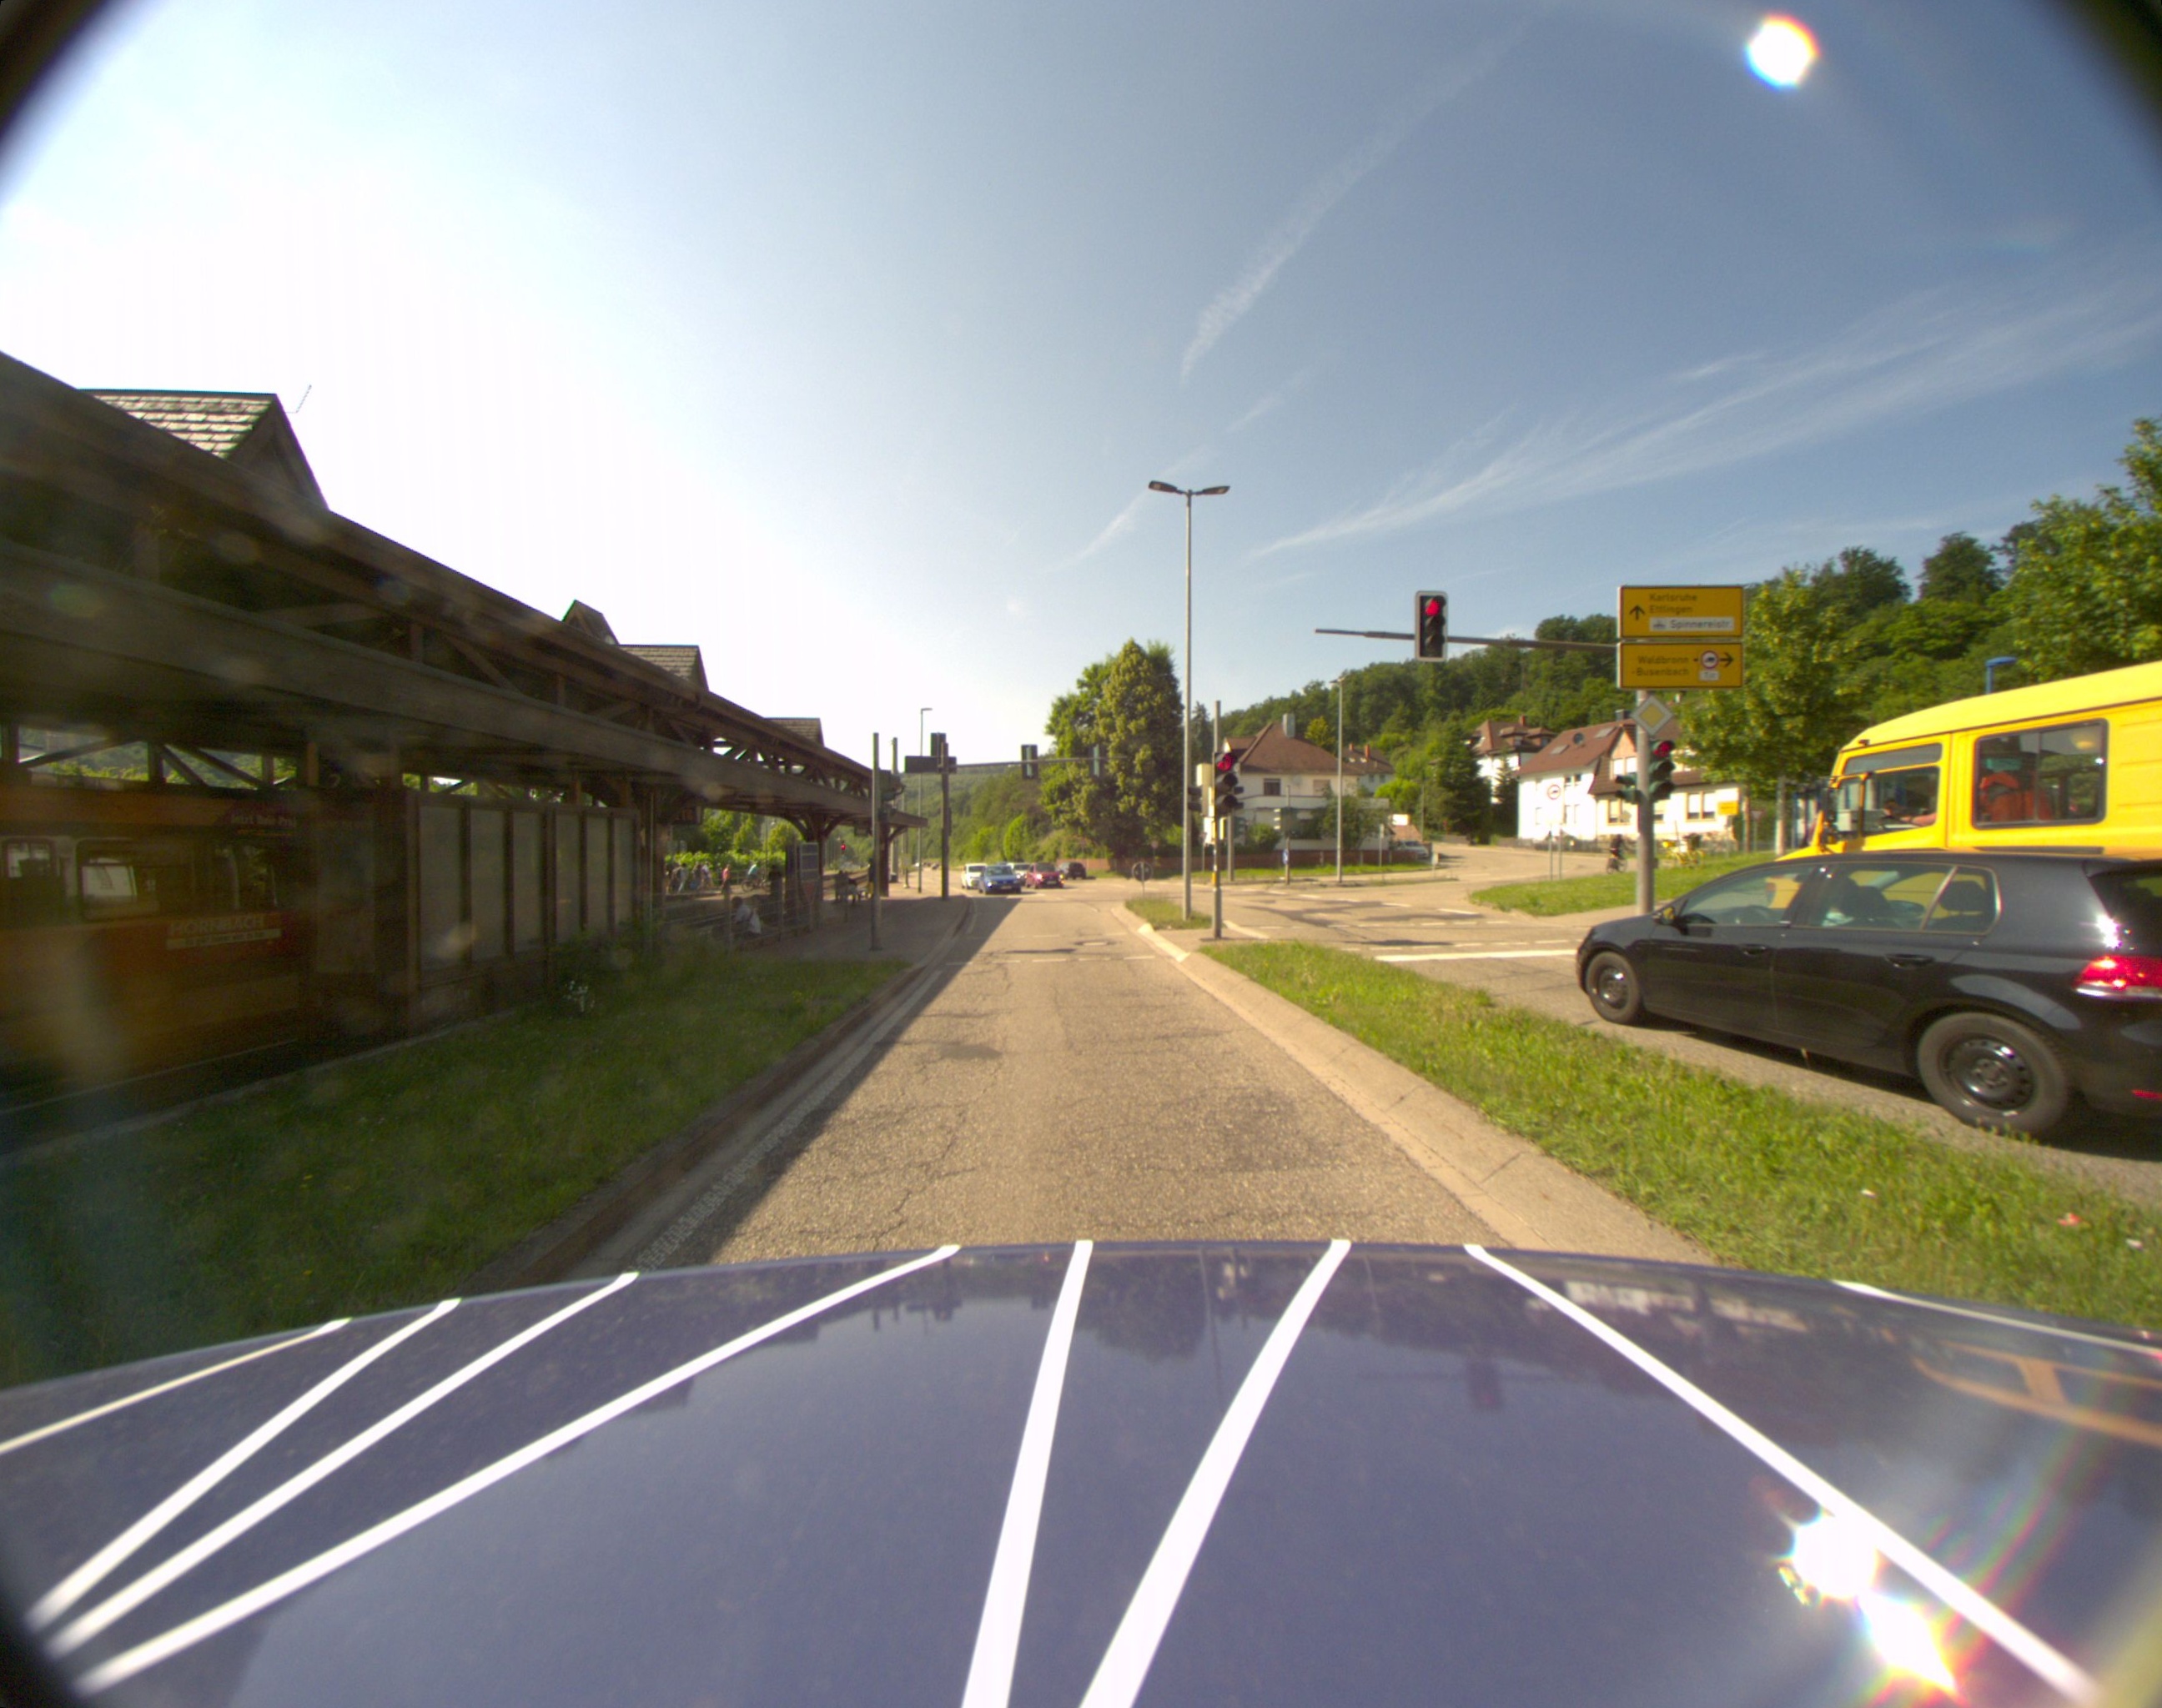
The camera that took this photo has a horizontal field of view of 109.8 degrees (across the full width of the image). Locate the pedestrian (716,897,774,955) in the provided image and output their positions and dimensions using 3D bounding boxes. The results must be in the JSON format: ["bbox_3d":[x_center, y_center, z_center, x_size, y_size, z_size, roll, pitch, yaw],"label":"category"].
[{"bbox_3d":[-6.239,1.327,14.145,0.744,0.976,0.769,-3,-1,-6],"label":"pedestrian"}]

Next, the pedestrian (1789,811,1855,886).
[{"bbox_3d":[17.134,-0.109,17.589,0.713,1.667,0.741,-3,-1,-3],"label":"pedestrian"}]

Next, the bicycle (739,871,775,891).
[{"bbox_3d":[-19.480,1.611,45.697,1.816,1.049,0.602,-3,1,-33],"label":"bicycle"}]

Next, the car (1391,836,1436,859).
[{"bbox_3d":[26.630,-0.491,60.960,1.938,1.627,4.001,-3,-1,2],"label":"car"}]

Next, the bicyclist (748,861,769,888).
[{"bbox_3d":[-19.429,1.236,45.757,0.948,1.559,0.785,-3,1,-33],"label":"bicyclist"}]

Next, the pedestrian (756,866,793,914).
[{"bbox_3d":[-9.949,1.162,24.728,0.863,1.538,0.922,-1,-1,-5],"label":"pedestrian"}]

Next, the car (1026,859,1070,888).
[{"bbox_3d":[-1.916,1.069,42.994,1.663,1.525,3.950,-1,-1,-15],"label":"car"}]

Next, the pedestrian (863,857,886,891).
[{"bbox_3d":[-10.895,1.046,40.120,0.916,1.726,1.251,-3,-1,-6],"label":"pedestrian"}]

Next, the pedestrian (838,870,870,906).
[{"bbox_3d":[-8.233,1.231,27.569,0.994,1.228,0.596,-3,-1,-13],"label":"pedestrian"}]

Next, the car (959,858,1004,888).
[{"bbox_3d":[-6.010,1.109,45.405,2.001,1.575,3.995,-3,0,-17],"label":"car"}]

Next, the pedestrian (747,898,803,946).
[{"bbox_3d":[-6.230,1.379,15.508,0.847,0.869,0.807,-3,-1,-6],"label":"pedestrian"}]

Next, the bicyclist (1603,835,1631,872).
[{"bbox_3d":[25.354,-0.013,35.938,0.995,1.681,0.805,-2,-1,-42],"label":"bicyclist"}]

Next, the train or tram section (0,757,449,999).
[{"bbox_3d":[-16.473,0.371,11.305,2.864,3.345,14.348,-2,0,-4],"label":"train or tram section"}]

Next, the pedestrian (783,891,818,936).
[{"bbox_3d":[-6.339,1.333,17.208,0.619,0.960,0.406,-3,0,-6],"label":"pedestrian"}]

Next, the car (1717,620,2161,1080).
[{"bbox_3d":[8.263,-0.067,5.021,2.474,2.993,6.464,-2,0,-2],"label":"car"}]

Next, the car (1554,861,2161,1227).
[{"bbox_3d":[5.265,0.803,4.948,1.750,1.454,4.043,-1,0,-2],"label":"car"}]

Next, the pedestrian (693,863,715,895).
[{"bbox_3d":[-20.496,1.372,41.330,0.905,1.674,0.821,-3,-1,-22],"label":"pedestrian"}]

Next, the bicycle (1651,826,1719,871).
[{"bbox_3d":[18.594,-0.148,23.441,0.620,1.247,1.758,-6,-2,3],"label":"bicycle"}]

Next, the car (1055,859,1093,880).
[{"bbox_3d":[-0.565,1.221,59.669,2.001,1.499,3.996,-3,-1,-14],"label":"car"}]

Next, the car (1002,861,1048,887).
[{"bbox_3d":[-3.680,1.292,49.225,1.982,1.495,4.745,-2,-1,-16],"label":"car"}]

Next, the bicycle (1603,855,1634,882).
[{"bbox_3d":[25.479,0.682,36.031,2.003,1.155,0.733,-2,-1,-42],"label":"bicycle"}]

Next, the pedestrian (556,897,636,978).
[{"bbox_3d":[-7.260,1.237,11.399,0.744,1.110,0.667,-3,-1,-6],"label":"pedestrian"}]

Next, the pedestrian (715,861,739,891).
[{"bbox_3d":[-20.449,1.245,43.895,0.902,1.674,0.824,-3,-1,27],"label":"pedestrian"}]

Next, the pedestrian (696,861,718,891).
[{"bbox_3d":[-21.530,1.244,43.739,0.868,1.674,0.822,-3,-1,-6],"label":"pedestrian"}]

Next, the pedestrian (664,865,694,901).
[{"bbox_3d":[-21.329,1.534,40.297,0.989,1.832,1.074,-2,-1,0],"label":"pedestrian"}]

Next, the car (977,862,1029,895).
[{"bbox_3d":[-3.864,1.160,37.154,1.867,1.474,4.296,-1,0,-15],"label":"car"}]

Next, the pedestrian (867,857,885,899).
[{"bbox_3d":[-8.474,0.985,31.417,0.659,1.682,0.738,-1,0,-13],"label":"pedestrian"}]

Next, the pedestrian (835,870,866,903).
[{"bbox_3d":[-8.705,1.211,28.728,1.010,1.153,0.948,-2,1,-13],"label":"pedestrian"}]
